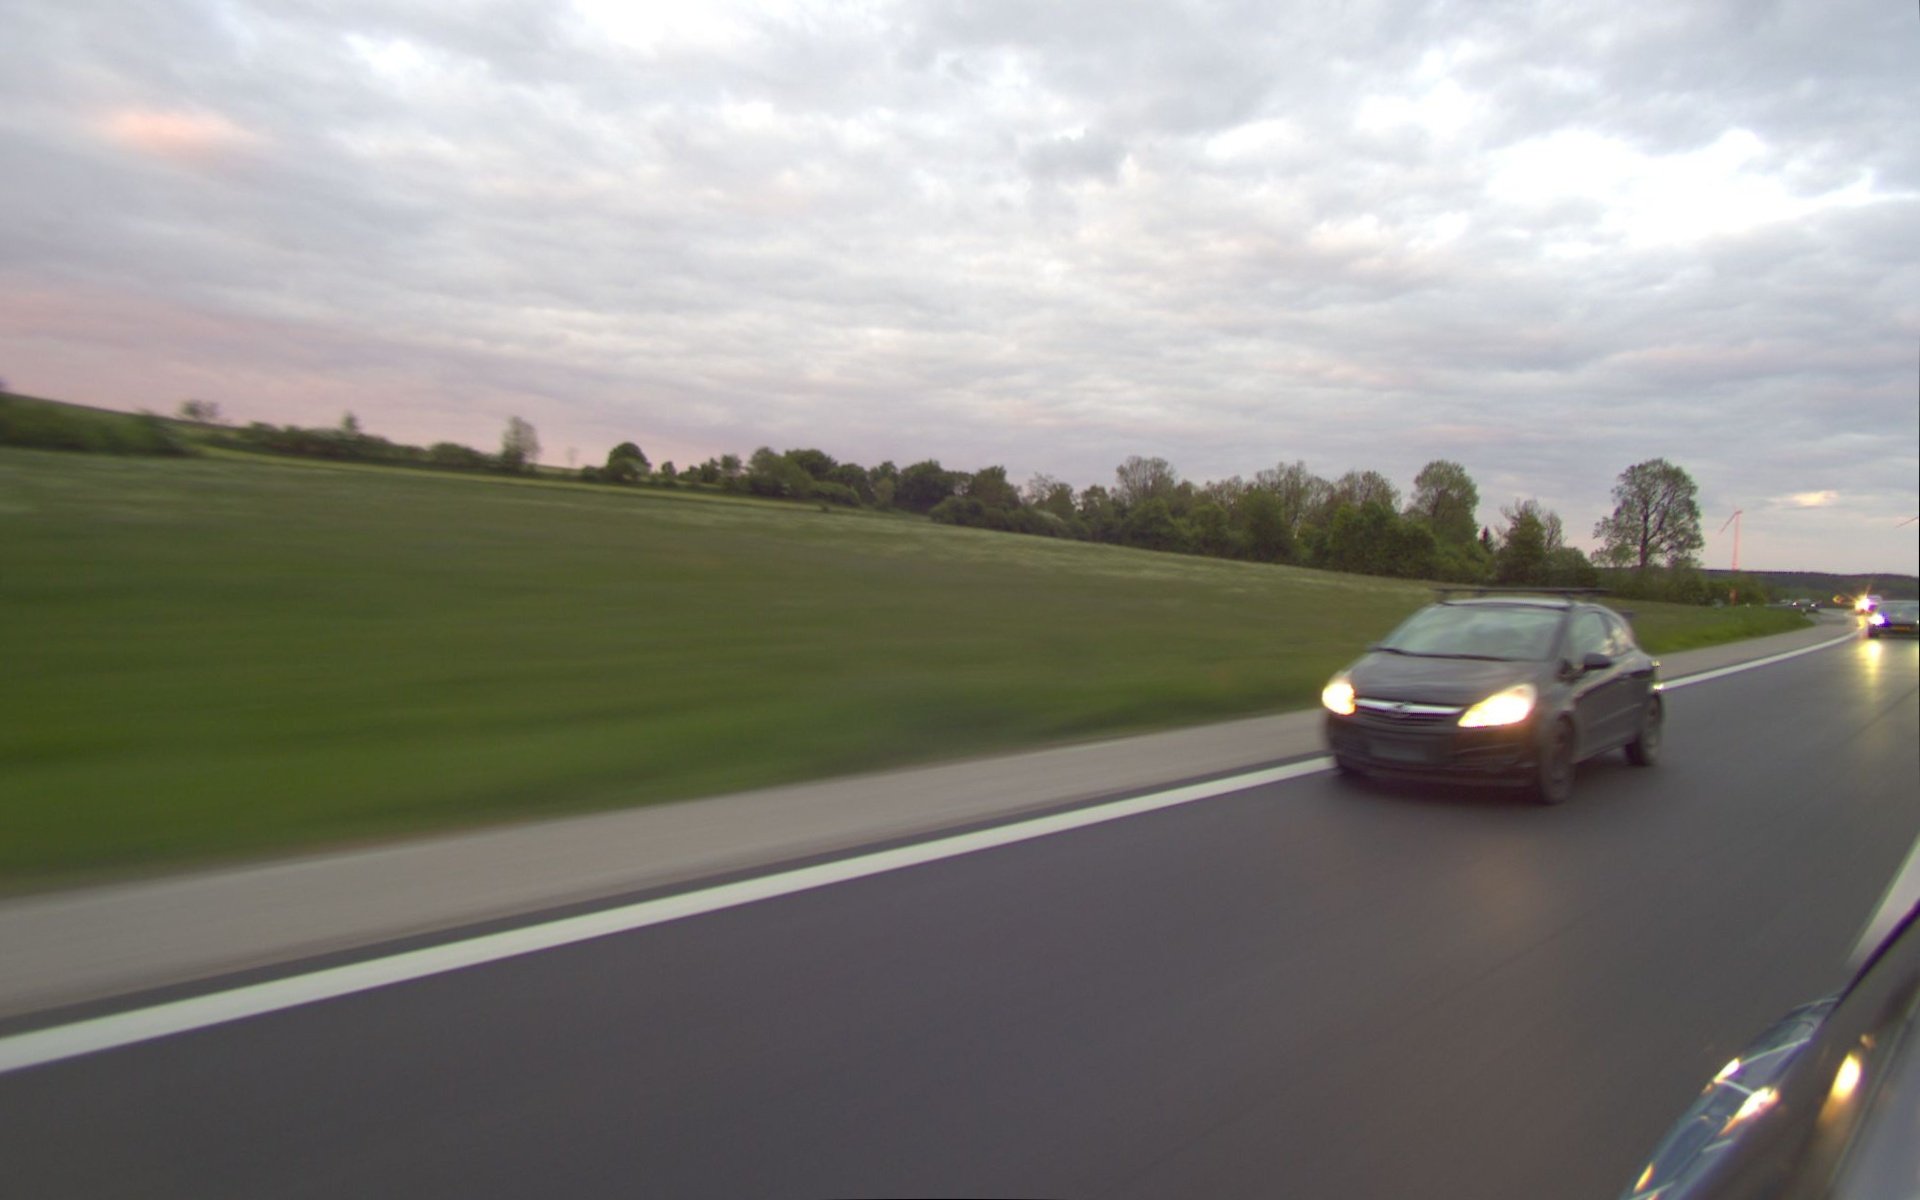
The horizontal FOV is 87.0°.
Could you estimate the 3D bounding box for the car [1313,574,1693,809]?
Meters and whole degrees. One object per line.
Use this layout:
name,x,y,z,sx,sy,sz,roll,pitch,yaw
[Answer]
car,4.734,0.571,8.565,3.933,1.532,1.679,0,1,-43

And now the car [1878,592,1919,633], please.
car,36.165,0.461,38.246,3.933,1.413,1.882,-1,3,-44

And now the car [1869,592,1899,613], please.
car,89.382,0.216,97.895,1.912,1.860,3.943,3,2,40
